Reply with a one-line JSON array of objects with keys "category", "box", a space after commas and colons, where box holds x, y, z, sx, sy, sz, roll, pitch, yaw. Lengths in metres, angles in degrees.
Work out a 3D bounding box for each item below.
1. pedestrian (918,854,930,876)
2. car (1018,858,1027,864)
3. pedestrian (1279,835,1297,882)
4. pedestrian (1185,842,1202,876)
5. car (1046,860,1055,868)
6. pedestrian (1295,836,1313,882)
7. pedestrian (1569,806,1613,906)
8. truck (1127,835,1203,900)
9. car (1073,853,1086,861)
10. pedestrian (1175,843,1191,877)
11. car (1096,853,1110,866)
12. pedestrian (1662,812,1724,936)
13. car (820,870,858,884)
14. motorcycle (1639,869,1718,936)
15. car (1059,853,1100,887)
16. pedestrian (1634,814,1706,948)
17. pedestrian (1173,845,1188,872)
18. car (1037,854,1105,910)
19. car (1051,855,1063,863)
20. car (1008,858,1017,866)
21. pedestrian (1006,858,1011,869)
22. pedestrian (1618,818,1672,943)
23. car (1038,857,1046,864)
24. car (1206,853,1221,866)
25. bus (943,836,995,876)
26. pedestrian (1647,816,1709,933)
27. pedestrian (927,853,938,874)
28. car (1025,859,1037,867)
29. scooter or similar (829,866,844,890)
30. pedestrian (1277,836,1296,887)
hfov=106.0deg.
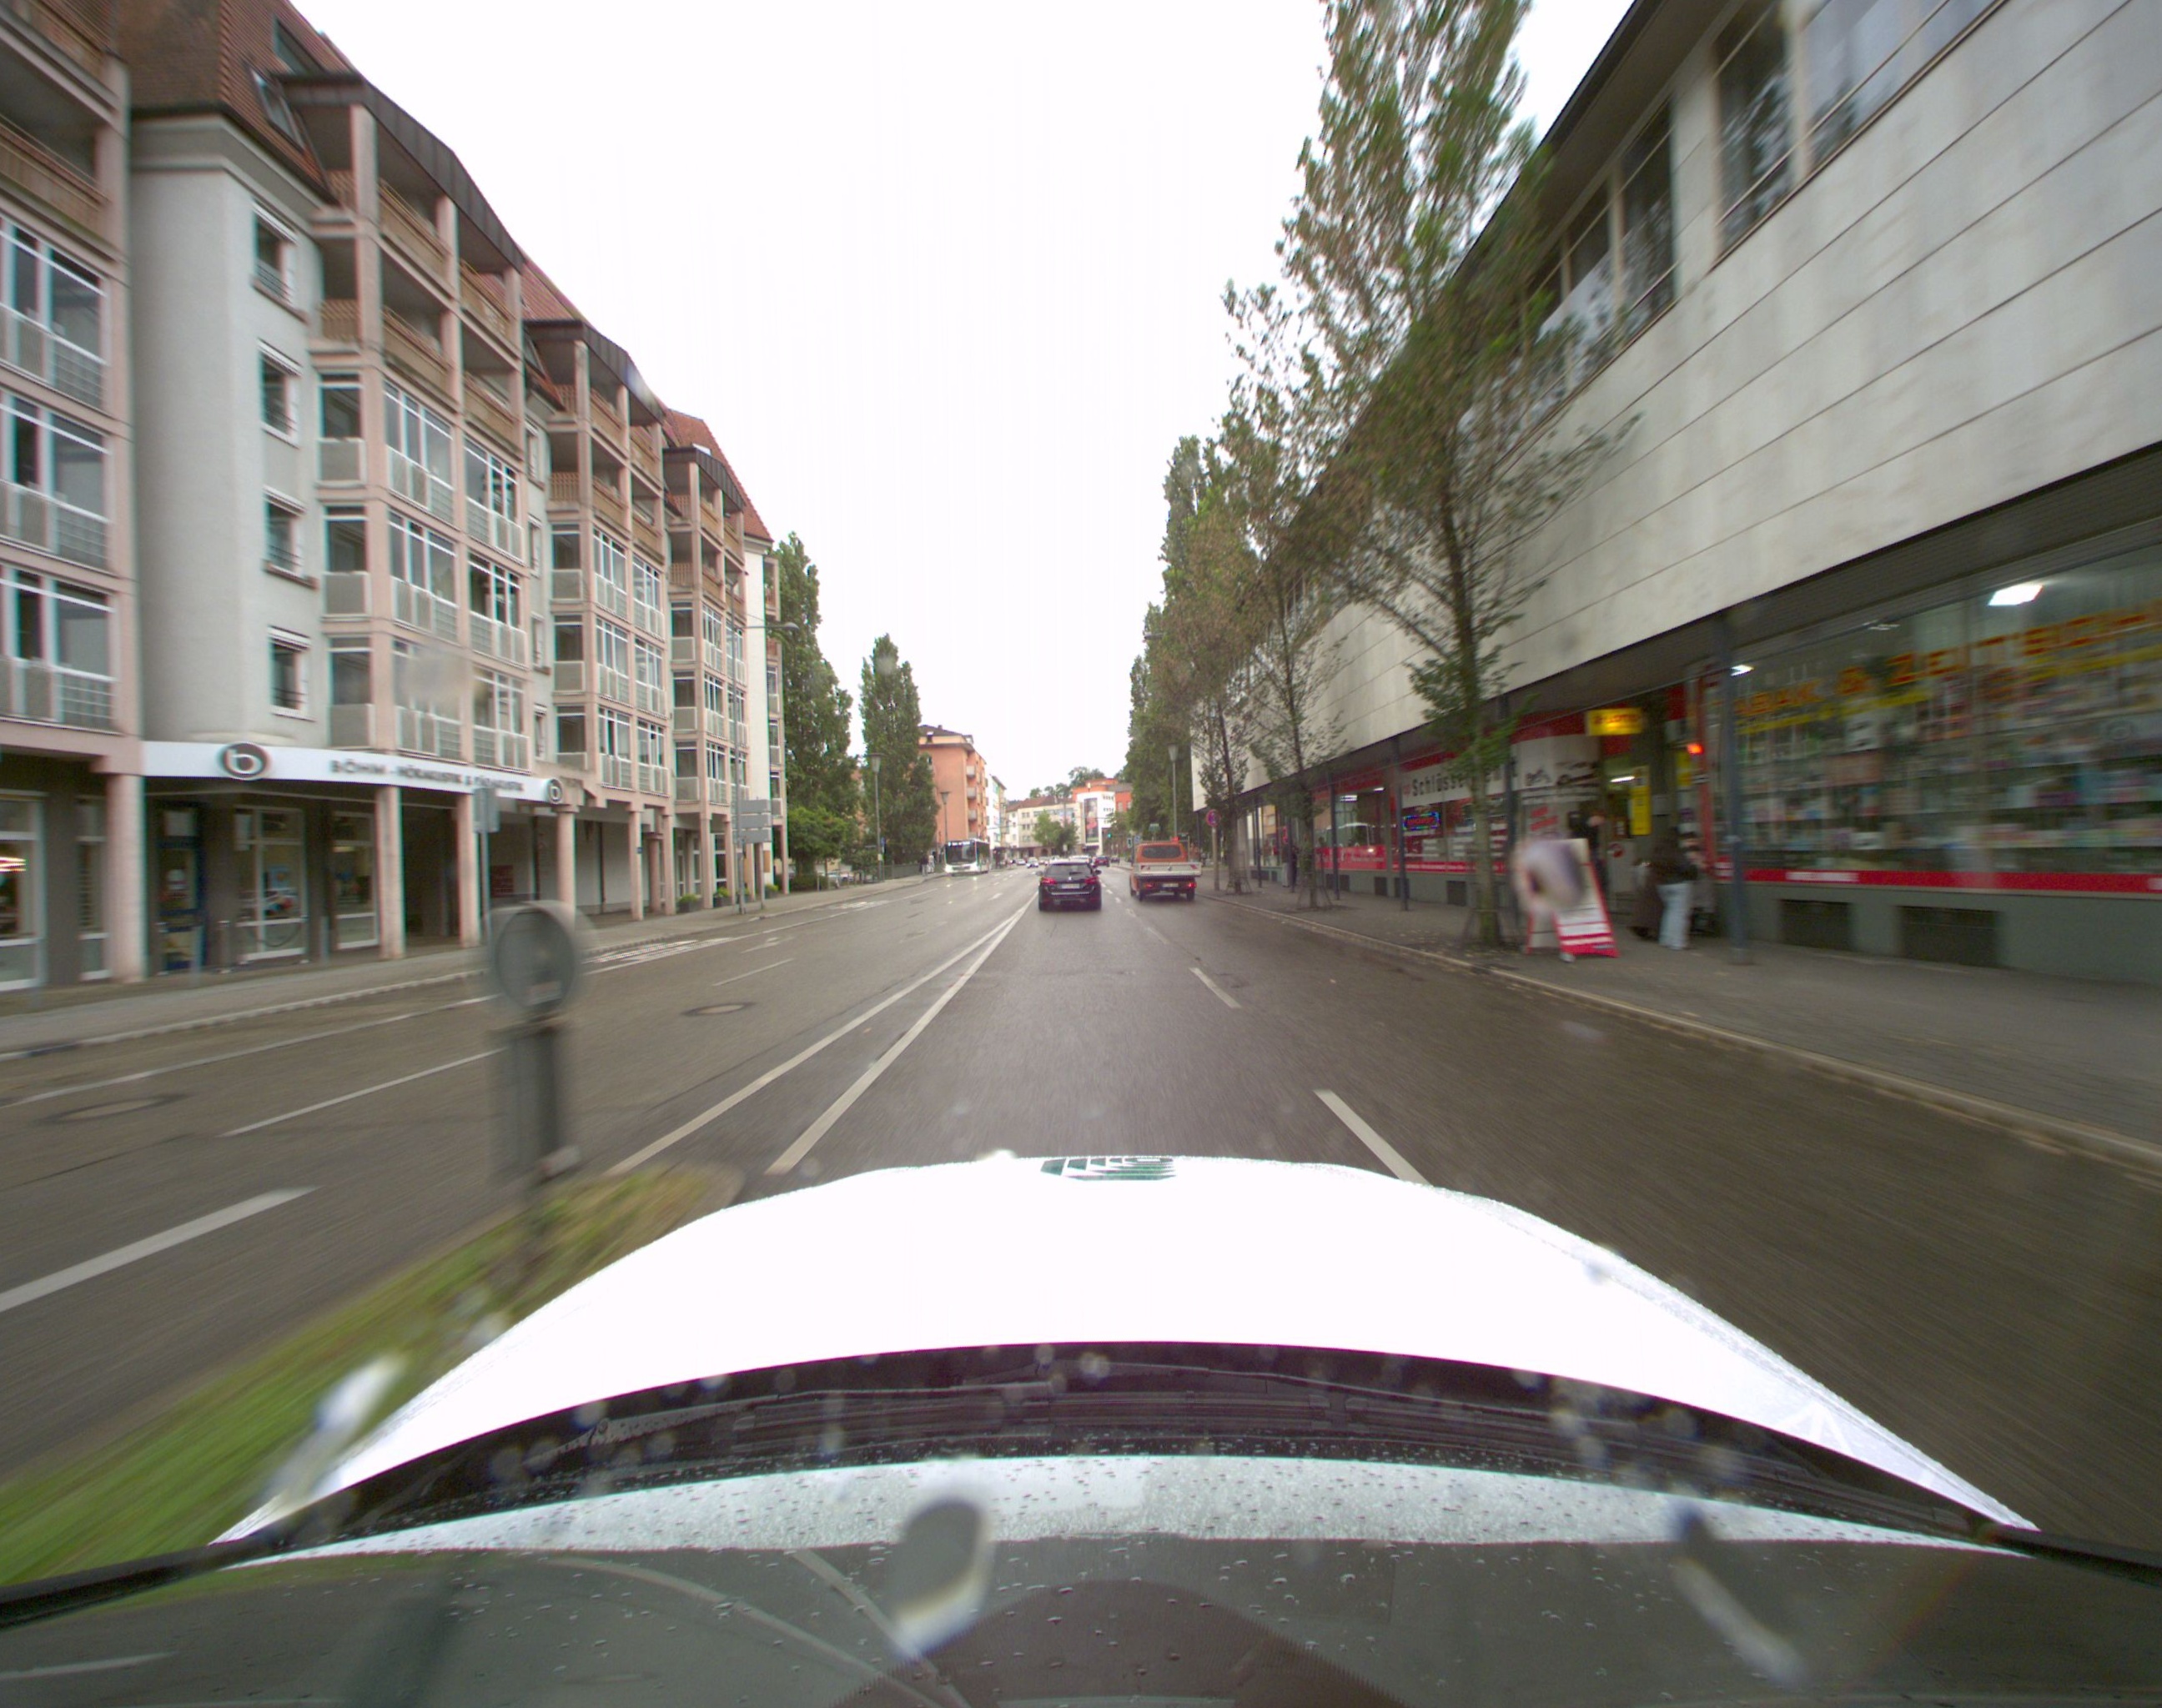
[{"category": "pedestrian", "box": [-12.664, 0.883, 65.863, 0.695, 1.794, 0.959, -1, -1, 2]}, {"category": "car", "box": [-13.334, 1.621, 185.558, 1.660, 1.399, 3.874, -3, 0, -1]}, {"category": "pedestrian", "box": [7.742, 0.173, 30.449, 0.533, 1.719, 0.536, -3, 0, 7]}, {"category": "pedestrian", "box": [6.018, 0.260, 43.650, 0.696, 1.801, 0.606, -4, 0, -1]}, {"category": "car", "box": [-6.151, 2.039, 162.325, 1.660, 1.399, 3.874, -3, 0, -1]}, {"category": "pedestrian", "box": [8.357, 0.183, 30.567, 0.533, 1.719, 0.536, -3, 0, 9]}, {"category": "pedestrian", "box": [8.181, 0.035, 13.052, 0.512, 1.566, 0.425, -3, 0, -45]}, {"category": "truck", "box": [2.799, 0.473, 28.161, 2.115, 2.025, 4.714, -1, -1, 0]}, {"category": "car", "box": [-0.266, 0.757, 182.547, 1.996, 1.684, 3.982, -2, 0, -13]}, {"category": "pedestrian", "box": [5.471, 0.322, 43.714, 0.651, 1.767, 0.922, -4, 0, -1]}, {"category": "car", "box": [2.822, 0.781, 105.651, 1.640, 1.564, 3.598, 0, -3, -1]}, {"category": "pedestrian", "box": [7.944, 0.254, 10.582, 0.386, 1.566, 0.430, -3, 0, -3]}, {"category": "car", "box": [-29.747, 2.853, 100.077, 3.974, 1.387, 1.899, -4, 0, 0]}, {"category": "motorcycle", "box": [7.880, 0.627, 10.764, 0.323, 0.804, 0.920, -3, 0, -1]}, {"category": "car", "box": [-0.009, 0.752, 39.294, 1.788, 1.483, 4.001, -3, 0, 2]}, {"category": "pedestrian", "box": [7.165, 0.319, 9.921, 0.428, 1.566, 0.509, -3, 0, -2]}, {"category": "pedestrian", "box": [6.174, 0.282, 50.738, 0.715, 1.620, 0.769, -4, 0, -1]}, {"category": "car", "box": [-0.221, 0.783, 24.075, 1.788, 1.483, 4.002, -1, -1, 2]}, {"category": "car", "box": [-5.615, 1.153, 190.346, 1.653, 1.564, 3.569, 2, -3, -25]}, {"category": "car", "box": [-16.878, 1.966, 201.520, 1.992, 1.684, 3.990, -3, 0, -7]}, {"category": "pedestrian", "box": [-14.200, 1.883, 158.864, 0.731, 2.014, 0.650, 2, -3, -34]}, {"category": "pedestrian", "box": [7.319, 0.330, 10.570, 0.512, 1.566, 0.425, -3, 0, -45]}, {"category": "car", "box": [-8.470, 1.429, 177.275, 1.660, 1.399, 3.874, -3, 0, -1]}, {"category": "car", "box": [22.767, 0.974, 140.139, 1.898, 2.014, 3.721, 0, -3, -3]}, {"category": "bus", "box": [-9.586, 0.042, 71.077, 2.735, 3.075, 12.236, -2, 1, 0]}, {"category": "pedestrian", "box": [8.279, 0.277, 11.303, 0.427, 1.566, 0.510, -3, 0, 3]}, {"category": "pedestrian", "box": [-13.219, 0.864, 72.442, 0.794, 1.794, 0.812, -1, -1, 1]}, {"category": "car", "box": [-8.840, 1.574, 144.292, 1.786, 1.325, 4.404, -3, 0, -1]}, {"category": "scooter or similar", "box": [-14.647, 1.453, 48.753, 0.481, 1.313, 1.569, -3, 2, -5]}, {"category": "pedestrian", "box": [7.516, 0.265, 29.821, 0.533, 1.820, 0.536, -3, 0, 7]}]
